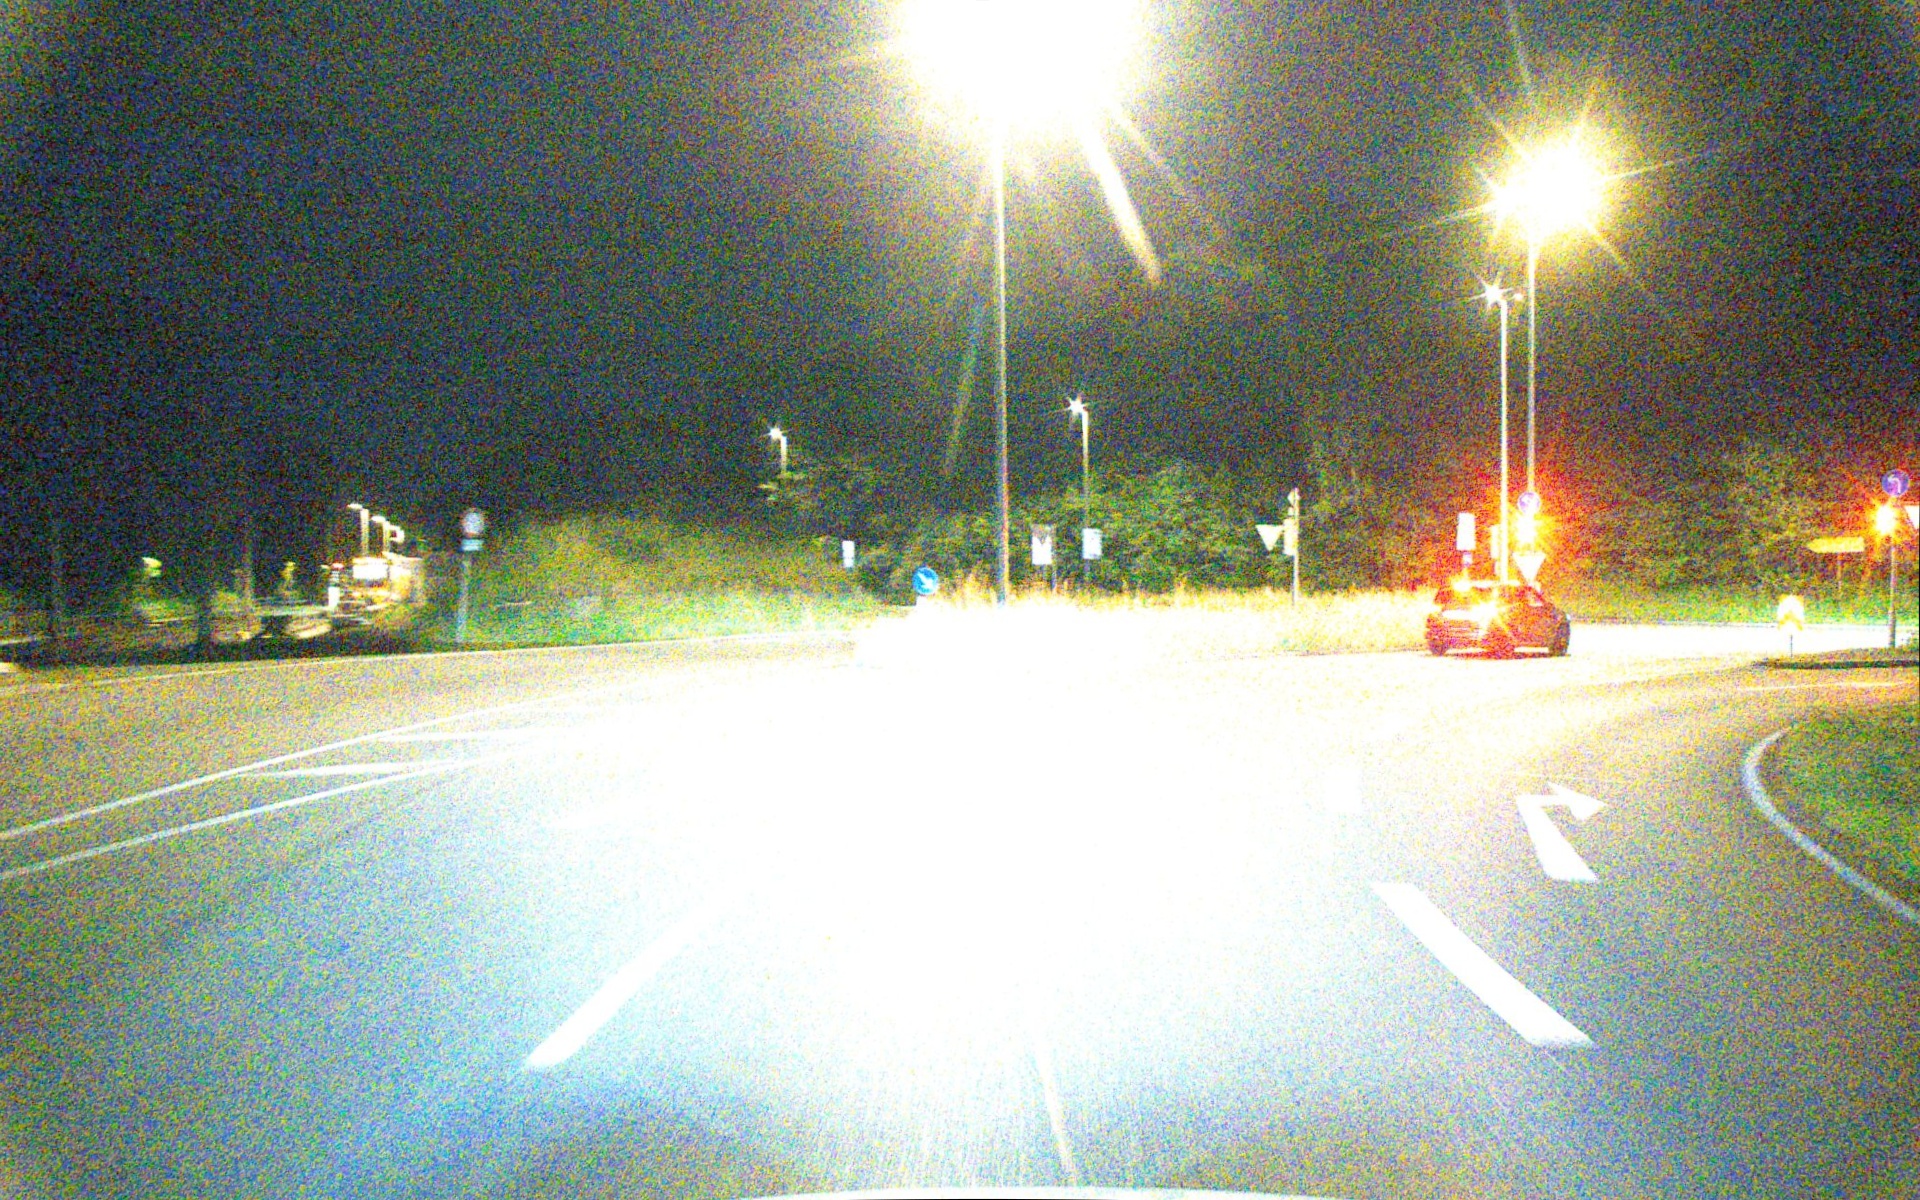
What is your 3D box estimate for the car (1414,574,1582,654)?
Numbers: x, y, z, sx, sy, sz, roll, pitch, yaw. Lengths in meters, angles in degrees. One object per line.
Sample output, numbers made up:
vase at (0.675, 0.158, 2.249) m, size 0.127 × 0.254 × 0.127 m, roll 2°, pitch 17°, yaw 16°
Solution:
car at (11.771, 0.277, 36.056) m, size 3.976 × 1.610 × 1.828 m, roll 0°, pitch 2°, yaw -44°
